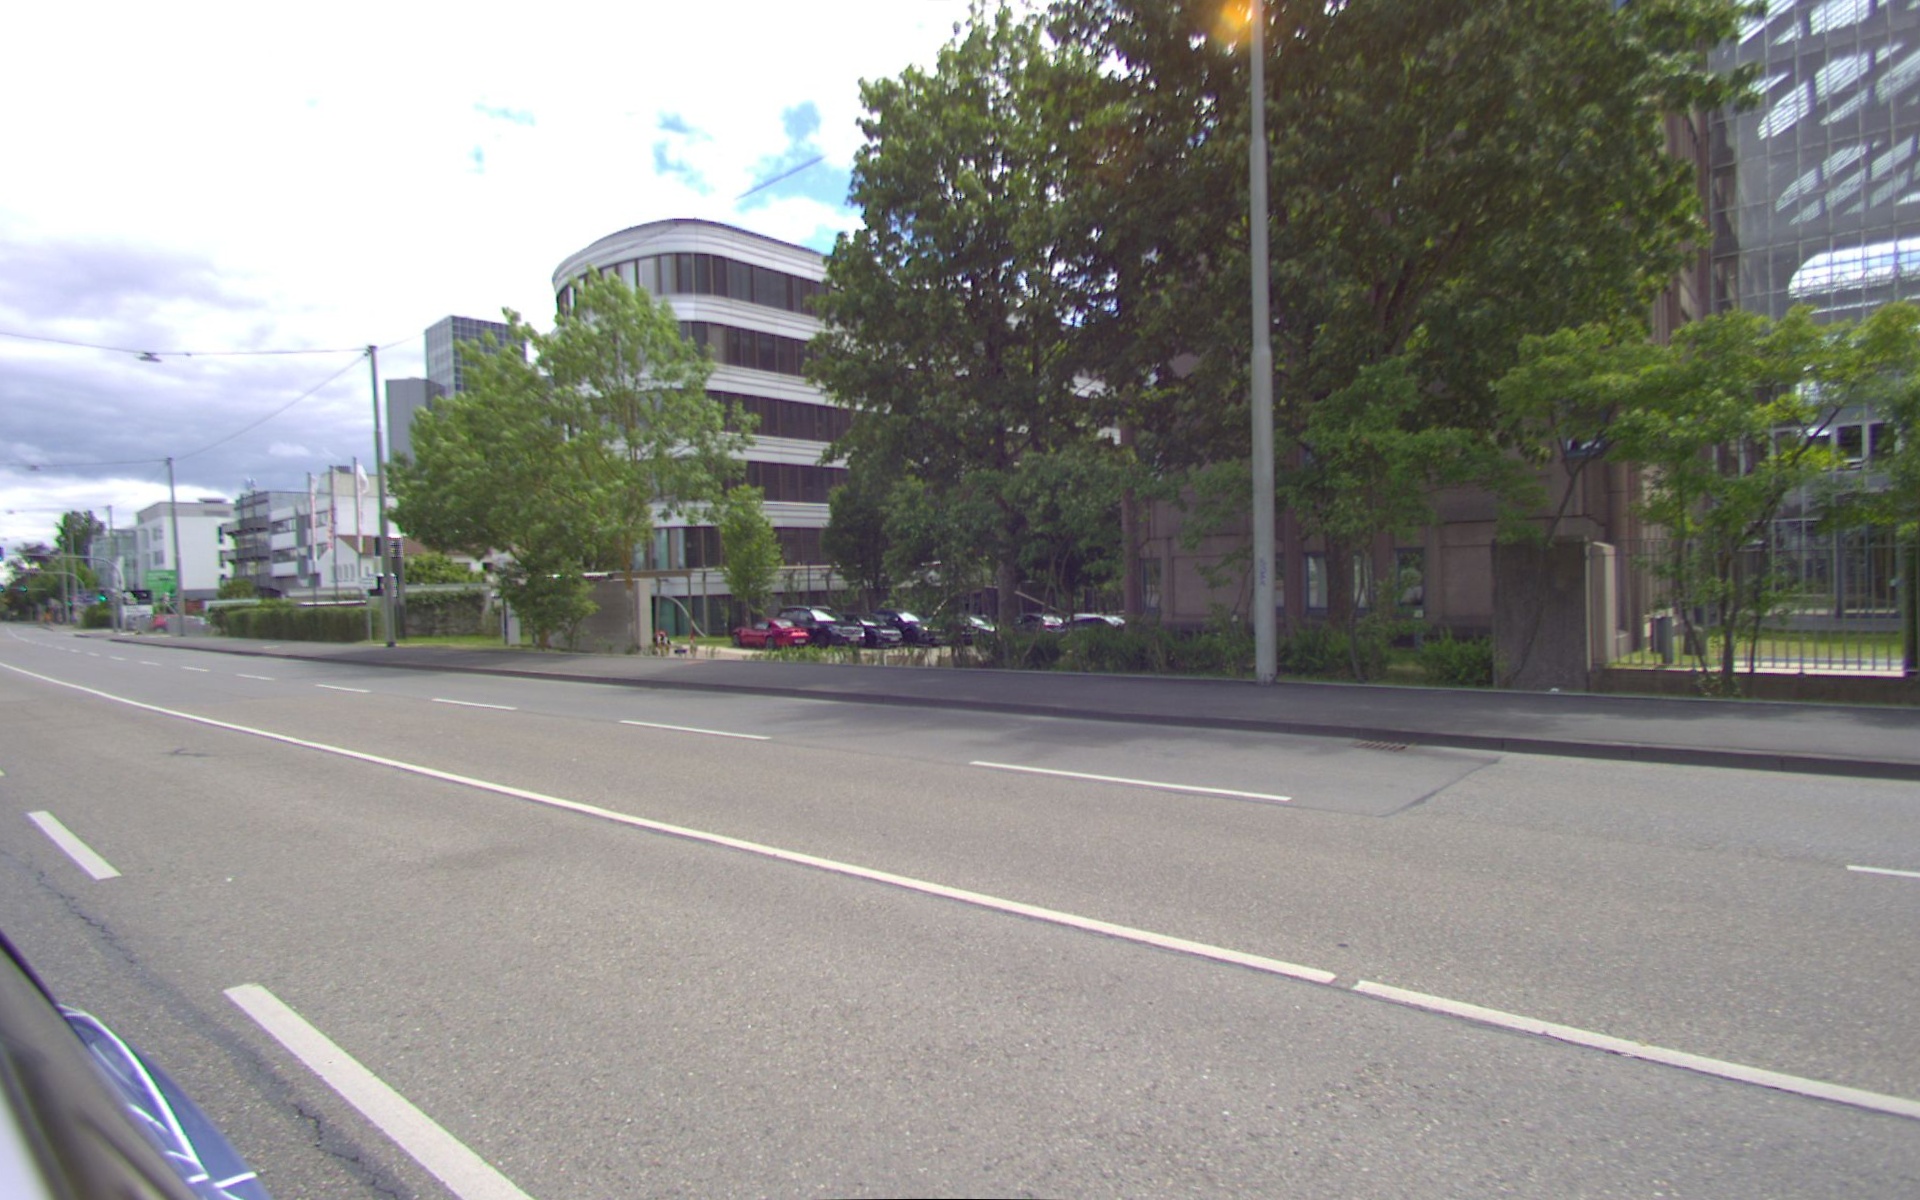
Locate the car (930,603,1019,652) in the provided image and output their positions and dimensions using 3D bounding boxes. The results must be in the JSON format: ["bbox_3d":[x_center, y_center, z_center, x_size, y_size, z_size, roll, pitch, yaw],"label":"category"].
[{"bbox_3d":[0.703,1.289,49.455,3.999,2.028,1.973,4,4,41],"label":"car"}]

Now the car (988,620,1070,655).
[{"bbox_3d":[3.611,1.940,53.296,4.038,1.629,1.822,-1,1,41],"label":"car"}]

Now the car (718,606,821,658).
[{"bbox_3d":[-7.637,1.224,40.518,3.993,1.807,1.846,3,2,37],"label":"car"}]

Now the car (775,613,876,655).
[{"bbox_3d":[-5.584,1.378,41.812,3.998,1.630,1.972,-1,-2,41],"label":"car"}]

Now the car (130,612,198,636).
[{"bbox_3d":[-60.088,1.802,76.467,1.835,1.623,3.753,-2,0,41],"label":"car"}]

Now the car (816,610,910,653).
[{"bbox_3d":[-4.252,1.338,44.008,3.998,1.736,1.801,-1,1,41],"label":"car"}]

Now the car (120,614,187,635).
[{"bbox_3d":[-65.364,1.952,82.083,1.823,1.342,3.946,-2,2,42],"label":"car"}]

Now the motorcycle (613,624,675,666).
[{"bbox_3d":[-10.558,1.489,33.853,0.745,1.253,1.882,-1,1,39],"label":"motorcycle"}]

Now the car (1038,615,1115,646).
[{"bbox_3d":[6.535,1.678,57.134,3.999,1.497,1.836,2,3,41],"label":"car"}]

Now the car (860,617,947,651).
[{"bbox_3d":[-2.566,1.509,45.513,3.998,1.386,1.506,-1,1,41],"label":"car"}]

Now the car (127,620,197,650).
[{"bbox_3d":[-61.656,2.672,78.246,1.920,2.029,3.944,-1,1,42],"label":"car"}]

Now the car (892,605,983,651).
[{"bbox_3d":[-1.091,1.276,47.713,3.998,2.042,1.908,-1,1,41],"label":"car"}]
